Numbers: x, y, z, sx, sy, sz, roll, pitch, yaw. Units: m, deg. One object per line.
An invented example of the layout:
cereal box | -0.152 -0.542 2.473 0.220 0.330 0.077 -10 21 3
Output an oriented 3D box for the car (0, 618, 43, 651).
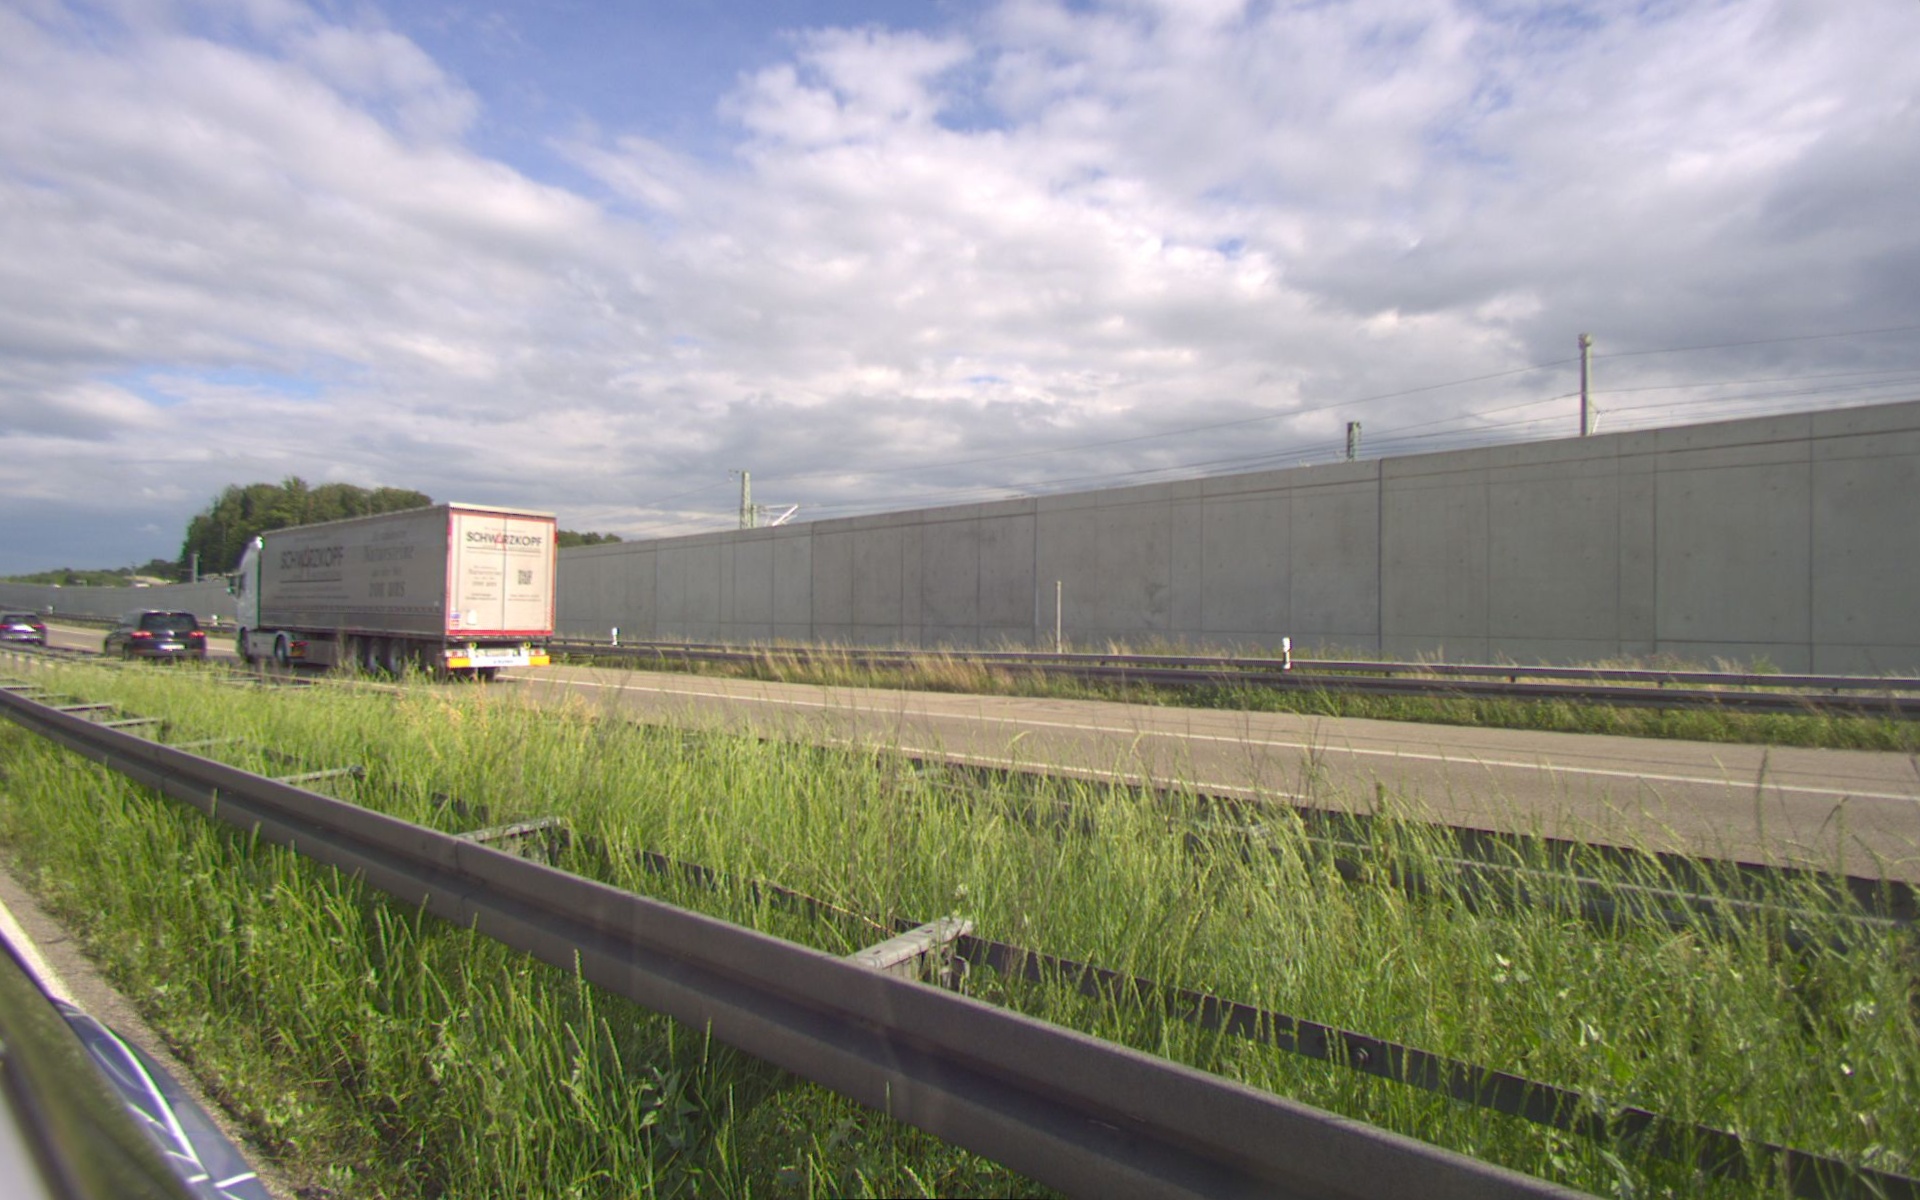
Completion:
car | -41.089 1.463 43.657 4.229 1.368 1.724 -1 -1 41

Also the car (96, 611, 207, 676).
car | -23.220 1.186 29.016 4.169 1.719 1.691 -1 -1 40

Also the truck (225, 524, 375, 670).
truck | -20.944 -0.051 32.009 5.928 4.213 2.356 -1 -2 40

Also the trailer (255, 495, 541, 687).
trailer | -15.729 -0.120 27.481 13.196 4.214 2.365 -1 -2 41
